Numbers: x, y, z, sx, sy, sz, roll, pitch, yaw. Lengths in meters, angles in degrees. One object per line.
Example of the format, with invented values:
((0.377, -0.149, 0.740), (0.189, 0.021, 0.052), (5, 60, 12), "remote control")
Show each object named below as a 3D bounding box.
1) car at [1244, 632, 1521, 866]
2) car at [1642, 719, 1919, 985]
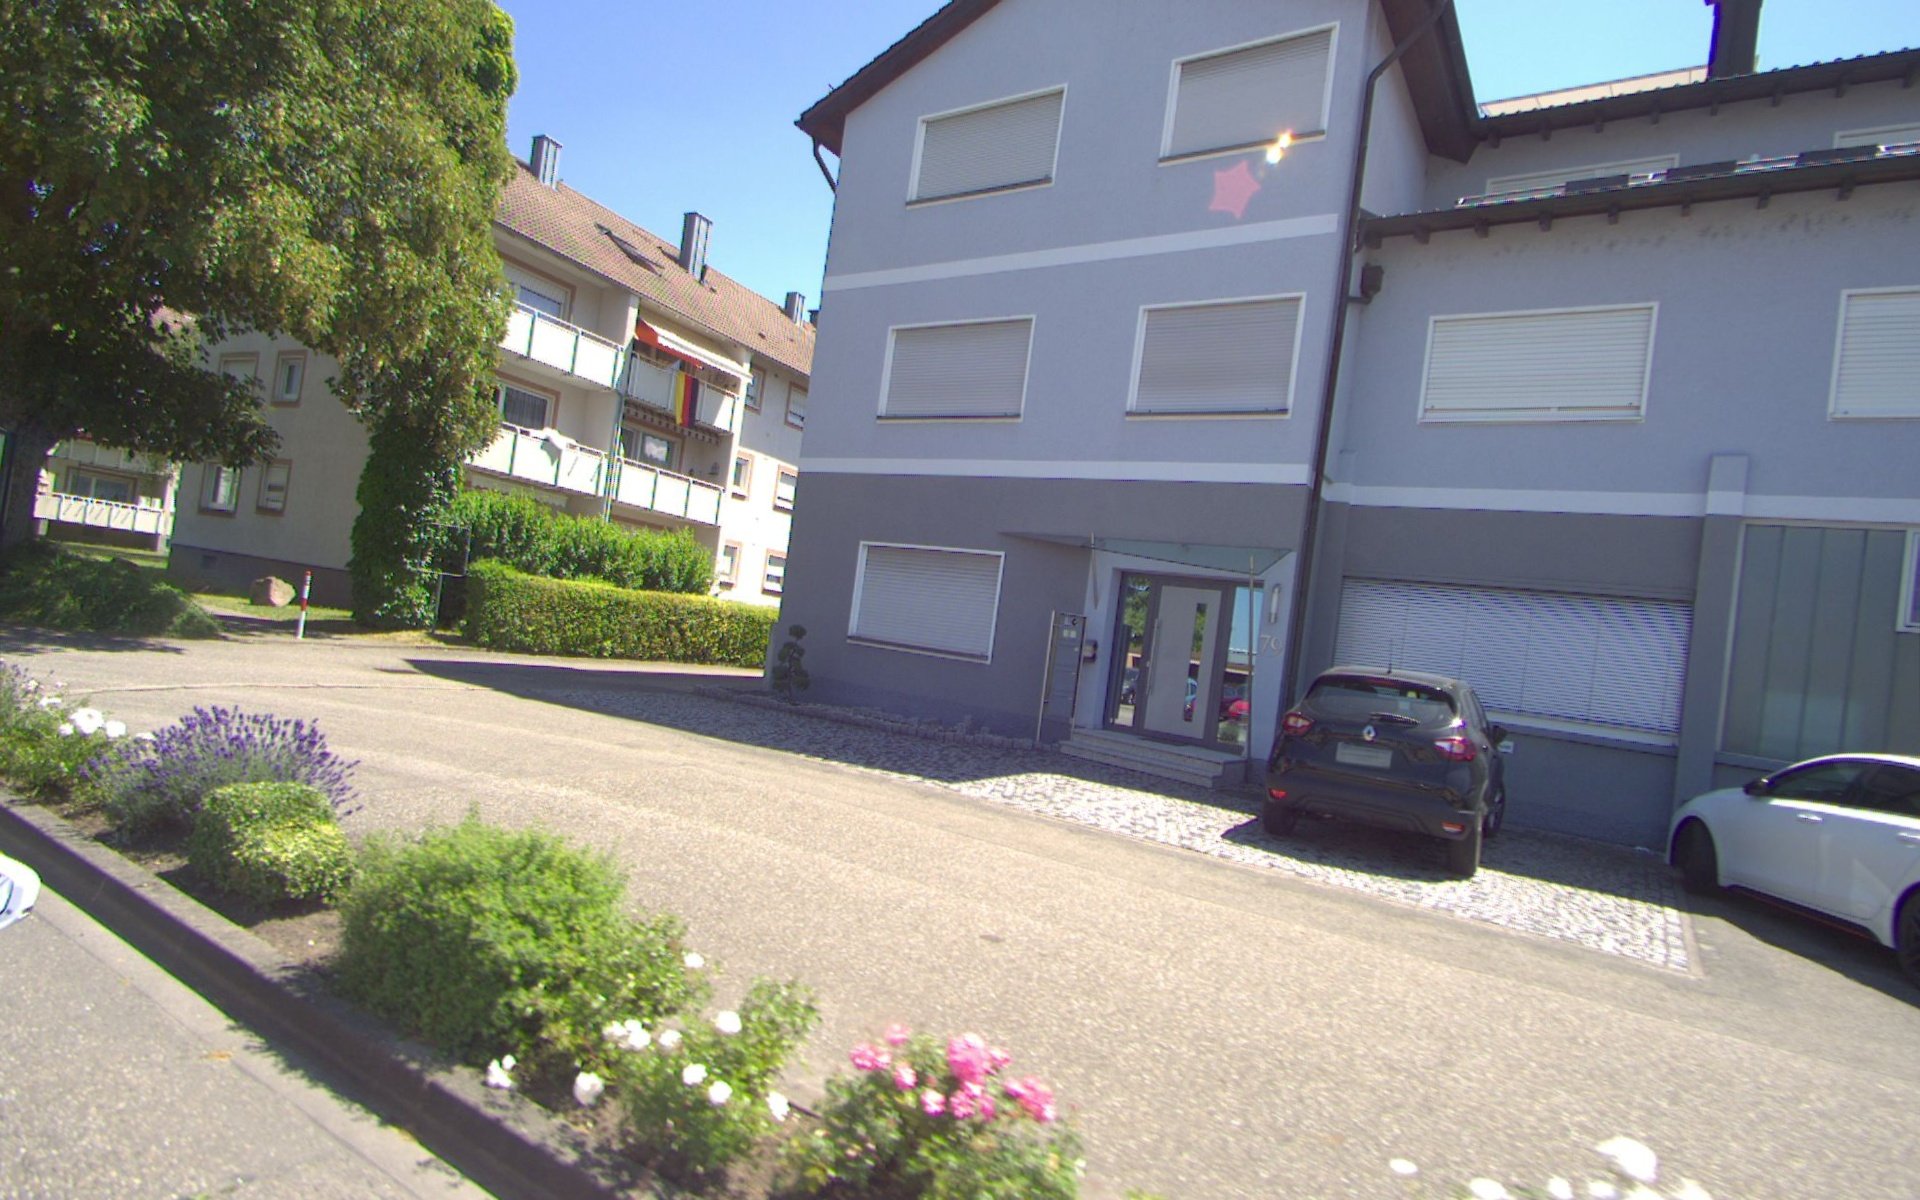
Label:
((4.244, 1.255, 9.707), (1.768, 1.569, 3.991), (6, 0, 31), "car")
((6.984, 1.798, 7.000), (1.918, 1.387, 4.362), (7, -1, 9), "car")
